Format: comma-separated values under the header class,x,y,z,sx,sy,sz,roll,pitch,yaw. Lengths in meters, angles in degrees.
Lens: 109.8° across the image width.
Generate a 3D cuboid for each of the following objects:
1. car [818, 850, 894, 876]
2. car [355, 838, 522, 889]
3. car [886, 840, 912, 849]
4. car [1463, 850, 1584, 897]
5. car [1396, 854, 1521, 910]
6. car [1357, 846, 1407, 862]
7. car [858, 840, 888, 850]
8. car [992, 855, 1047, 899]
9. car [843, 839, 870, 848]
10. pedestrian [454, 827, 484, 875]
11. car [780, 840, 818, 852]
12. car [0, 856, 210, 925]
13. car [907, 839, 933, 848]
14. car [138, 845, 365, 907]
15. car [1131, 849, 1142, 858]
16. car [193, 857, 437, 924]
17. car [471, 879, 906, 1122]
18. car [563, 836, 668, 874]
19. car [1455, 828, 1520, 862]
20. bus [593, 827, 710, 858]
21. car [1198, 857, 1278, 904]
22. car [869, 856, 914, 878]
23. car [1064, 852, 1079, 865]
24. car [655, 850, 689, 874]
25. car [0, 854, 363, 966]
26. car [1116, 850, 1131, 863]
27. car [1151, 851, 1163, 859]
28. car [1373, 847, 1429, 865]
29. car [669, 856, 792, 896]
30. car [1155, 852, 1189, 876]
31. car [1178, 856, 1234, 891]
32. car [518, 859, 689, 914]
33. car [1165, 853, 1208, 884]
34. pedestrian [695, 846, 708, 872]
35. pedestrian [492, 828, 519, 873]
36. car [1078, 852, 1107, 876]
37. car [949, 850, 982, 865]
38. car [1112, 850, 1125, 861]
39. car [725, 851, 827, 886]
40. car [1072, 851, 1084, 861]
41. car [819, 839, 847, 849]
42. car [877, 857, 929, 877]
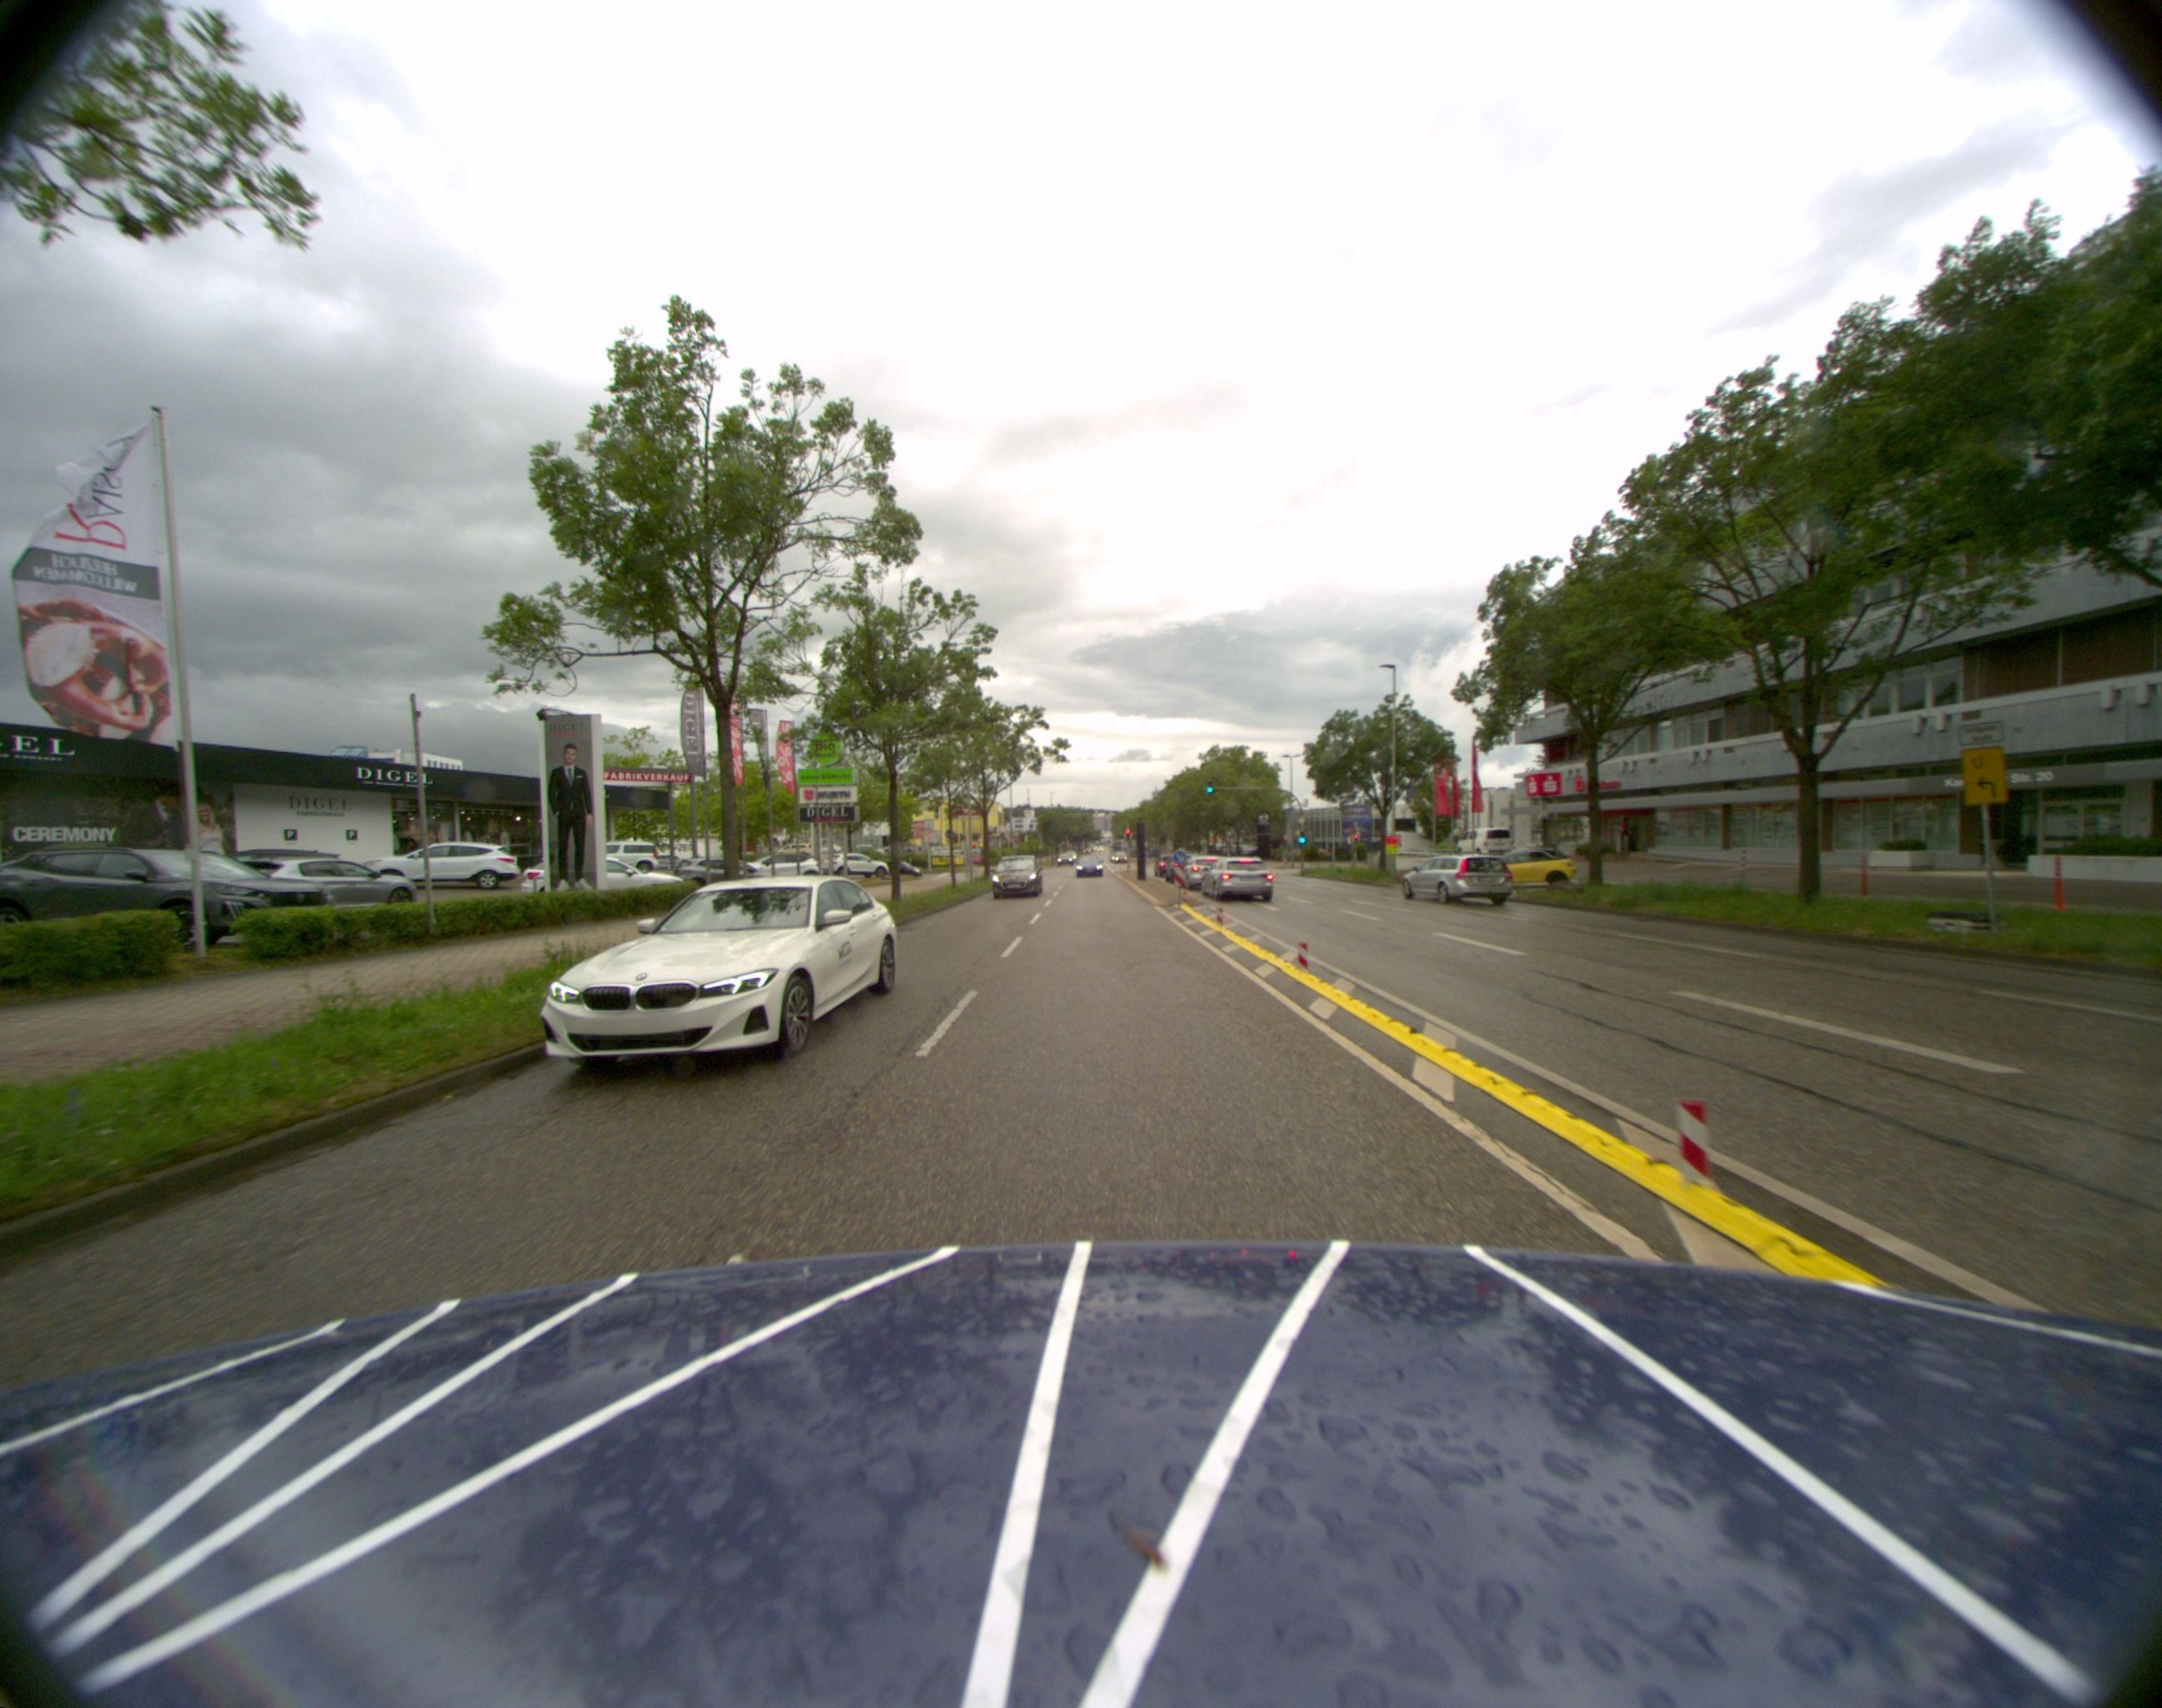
class,x,y,z,sx,sy,sz,roll,pitch,yaw
car,-14.243,0.574,48.250,4.324,1.570,1.738,2,1,-45
car,-23.097,0.368,27.588,4.507,1.672,1.794,2,2,-37
car,-30.552,-1.555,127.708,3.996,1.501,1.800,0,0,1
car,16.643,0.756,28.630,3.702,1.500,1.624,-4,2,37
car,11.821,0.804,24.215,1.745,1.544,4.782,1,1,2
car,31.459,0.027,79.544,4.518,1.647,1.955,0,0,6
car,-31.332,-1.353,114.540,3.996,1.501,1.800,0,0,1
car,-2.432,0.866,31.062,1.799,1.572,4.218,-3,0,1
car,-40.411,-1.887,136.920,4.221,1.572,1.824,0,0,1
pedestrian,-26.379,-0.125,32.755,0.613,2.002,0.657,-3,1,2
car,-43.829,-1.283,118.233,5.092,1.787,2.035,0,0,1
car,-23.398,0.797,17.276,4.508,1.388,1.794,1,2,-40
car,-28.568,-1.858,134.950,4.221,1.572,1.824,0,0,1
car,-22.547,0.583,20.925,4.052,1.470,1.794,1,2,-41
car,9.922,-0.059,135.424,1.753,1.501,4.000,0,0,1
car,-18.845,0.837,19.015,1.765,1.437,4.124,2,0,3
car,-3.207,1.078,7.471,1.808,1.432,4.542,-3,0,1
car,-22.976,0.075,37.591,4.125,1.736,1.794,1,2,-43
car,26.541,-0.590,49.800,1.998,2.002,4.887,-3,1,6
bus,-52.394,-1.285,93.859,4.101,3.493,17.335,0,0,2
car,5.149,0.822,25.503,1.788,1.398,4.616,0,0,0
car,-13.864,0.944,55.412,1.747,1.570,3.864,0,-1,-38
car,-1.179,0.542,94.398,1.753,1.501,4.000,0,0,1
car,-29.850,0.537,55.416,1.804,1.502,4.103,2,2,-34
car,-14.222,0.804,11.905,4.179,1.464,1.862,2,1,1
car,5.337,0.299,95.625,1.753,1.501,4.000,0,0,1
car,13.902,0.165,138.946,1.753,1.566,4.000,0,0,1
car,30.264,0.167,72.019,4.518,1.647,1.955,0,0,6
car,-13.803,0.841,30.033,4.028,1.429,1.738,2,1,-42
car,5.866,0.627,49.310,1.753,1.501,4.000,0,0,1
car,5.286,0.793,32.500,1.745,1.398,4.000,0,0,0
car,-14.281,0.940,22.848,4.191,1.464,1.785,2,1,-35
car,5.429,0.711,39.503,1.753,1.516,4.000,0,0,1
pedestrian,-24.990,0.327,50.093,0.471,1.671,0.569,-1,0,14
pedestrian,-26.334,-0.149,34.761,0.613,2.002,0.657,-3,1,2
car,0.786,0.674,52.975,1.799,1.572,4.218,-3,0,-1
car,-14.026,0.375,92.176,4.001,1.801,1.766,0,0,-10
car,5.271,0.250,107.337,1.753,1.501,4.000,0,0,1
car,-14.533,0.690,36.311,4.186,1.570,1.738,2,1,-37
car,-0.391,0.310,112.828,1.753,1.501,4.000,0,0,1
car,-42.503,-1.709,130.114,4.221,1.572,1.824,0,0,1
car,-15.091,1.085,64.572,3.998,1.502,1.742,-2,3,-4
